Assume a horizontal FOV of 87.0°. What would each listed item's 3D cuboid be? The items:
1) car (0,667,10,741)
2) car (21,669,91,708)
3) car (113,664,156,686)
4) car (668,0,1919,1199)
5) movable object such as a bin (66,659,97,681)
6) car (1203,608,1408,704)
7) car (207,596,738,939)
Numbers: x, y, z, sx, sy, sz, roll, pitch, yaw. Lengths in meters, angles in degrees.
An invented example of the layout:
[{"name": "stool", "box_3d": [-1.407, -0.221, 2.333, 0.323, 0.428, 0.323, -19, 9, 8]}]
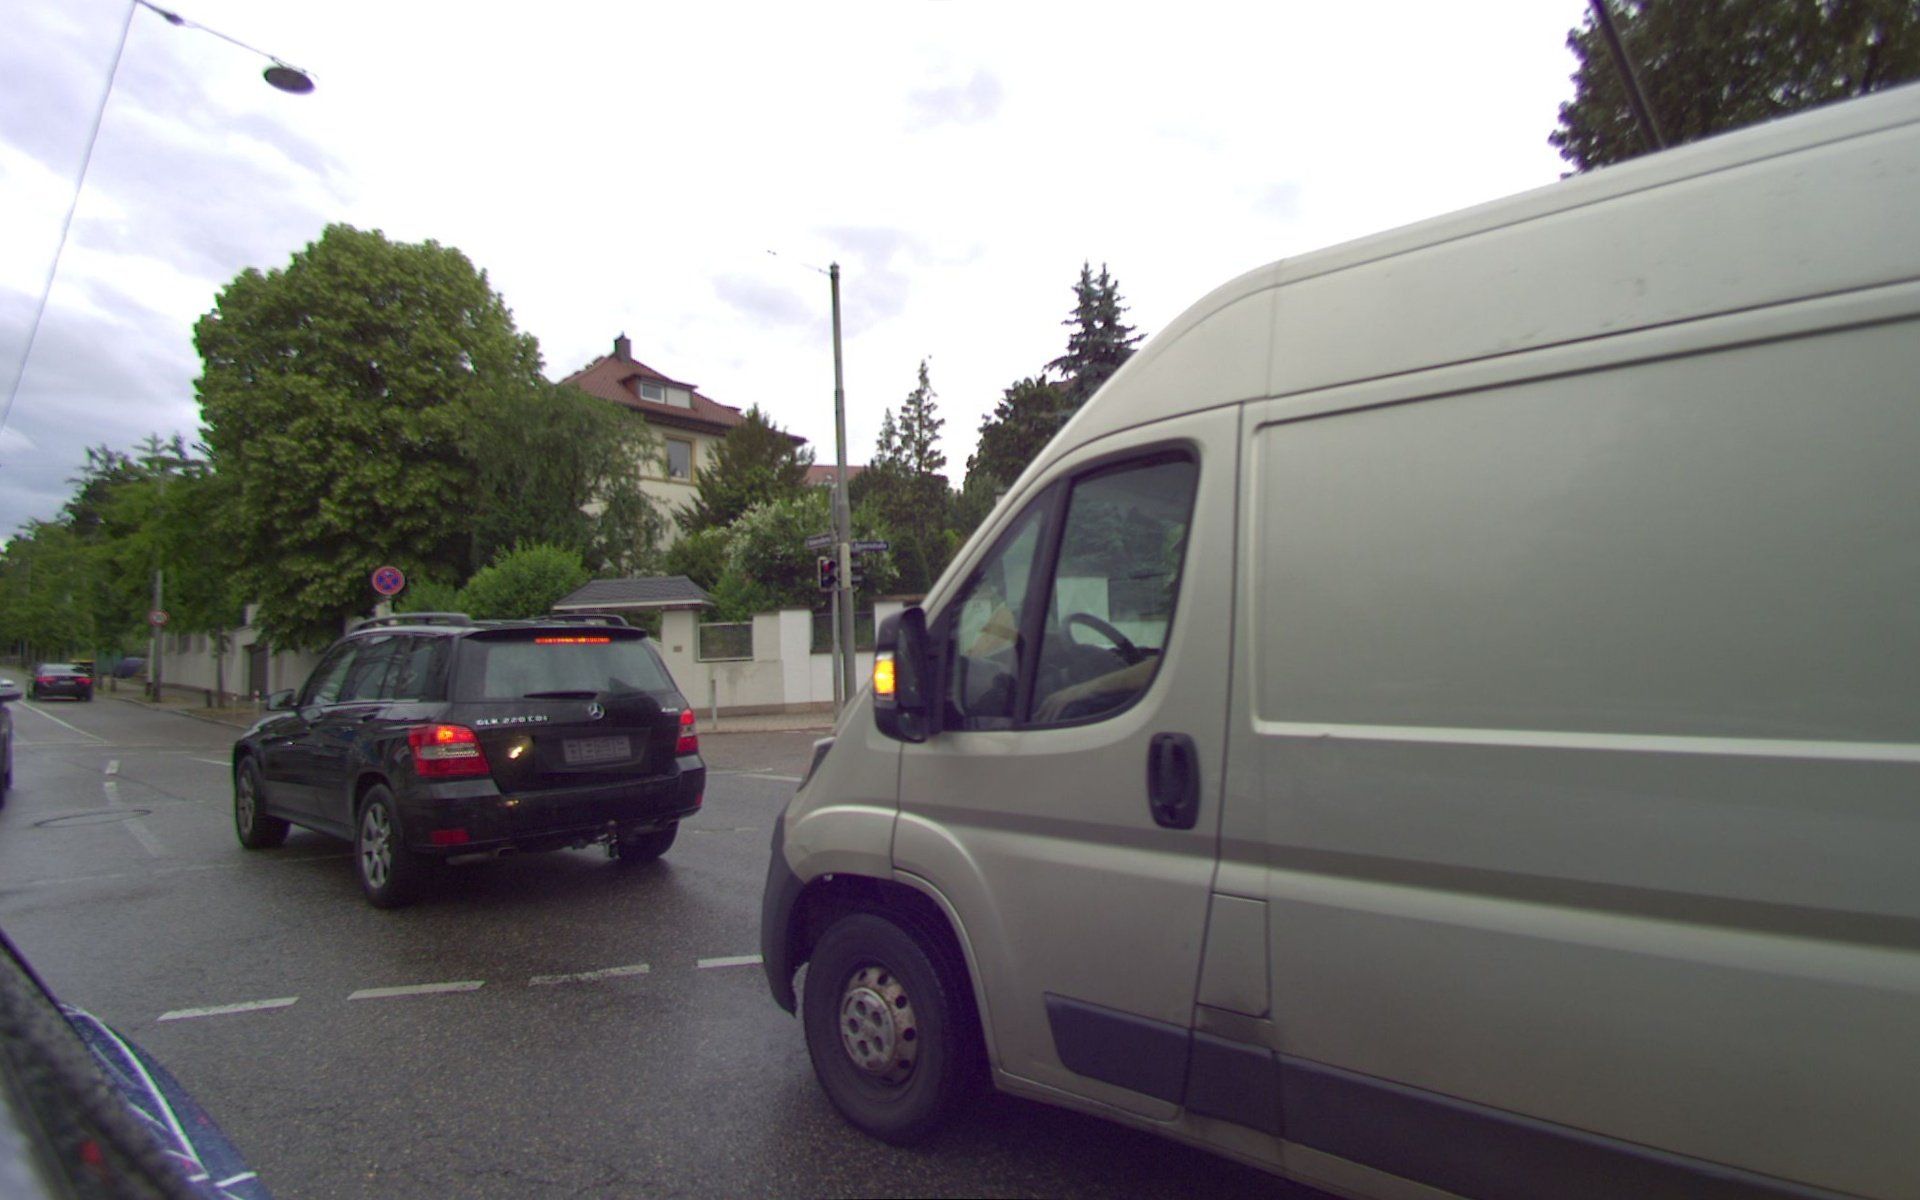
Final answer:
[{"name": "car", "box_3d": [-24.131, 2.458, 24.235, 4.201, 1.654, 1.761, -3, -5, 44]}, {"name": "car", "box_3d": [-37.286, 3.639, 41.848, 1.829, 1.497, 5.376, 3, -6, -39]}, {"name": "car", "box_3d": [-59.200, 5.352, 72.581, 3.864, 1.503, 1.831, -4, -3, 42]}, {"name": "car", "box_3d": [1.775, 0.186, 2.534, 5.536, 2.565, 2.095, -2, -4, 41]}, {"name": "movable object such as a bin", "box_3d": [-55.681, 4.448, 64.143, 1.121, 1.361, 1.212, -2, -4, 35]}, {"name": "car", "box_3d": [6.544, 1.061, 19.218, 3.308, 1.449, 1.676, -3, -7, -26]}, {"name": "car", "box_3d": [-3.599, 0.938, 7.069, 4.344, 1.665, 1.802, -4, -4, 41]}]
